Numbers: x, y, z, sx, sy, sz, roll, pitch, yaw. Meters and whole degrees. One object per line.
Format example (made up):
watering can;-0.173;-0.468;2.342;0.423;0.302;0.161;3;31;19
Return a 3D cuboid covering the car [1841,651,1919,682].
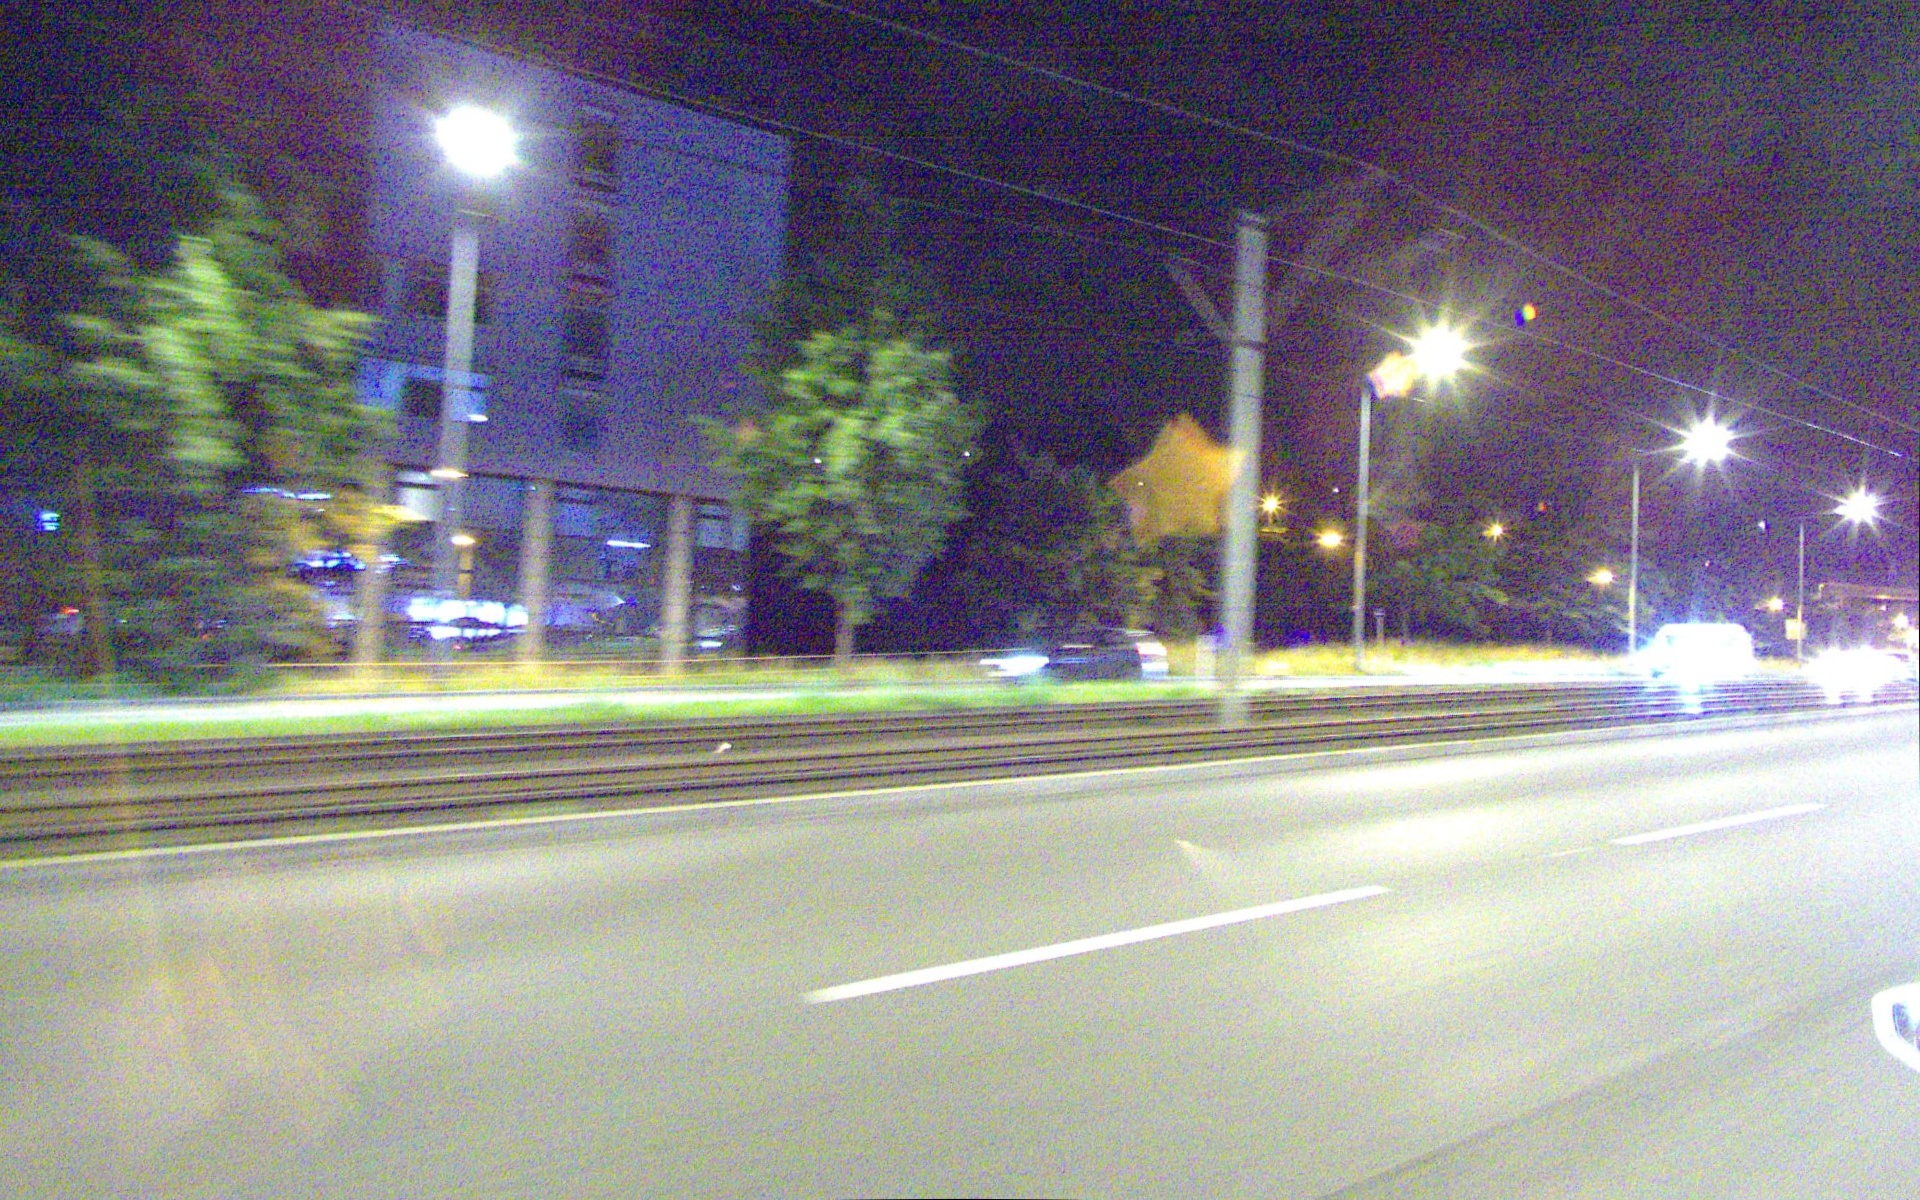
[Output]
car;48.281;3.492;52.669;4.562;1.534;1.853;3;-3;-31

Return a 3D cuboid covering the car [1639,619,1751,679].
car;35.537;2.429;48.493;6.890;2.705;2.133;3;-5;-34

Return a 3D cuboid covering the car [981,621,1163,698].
car;2.786;1.452;24.762;4.175;1.736;1.772;2;-1;-29

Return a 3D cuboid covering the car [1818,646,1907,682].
car;38.105;2.713;42.395;4.289;1.458;1.612;2;-3;-31
